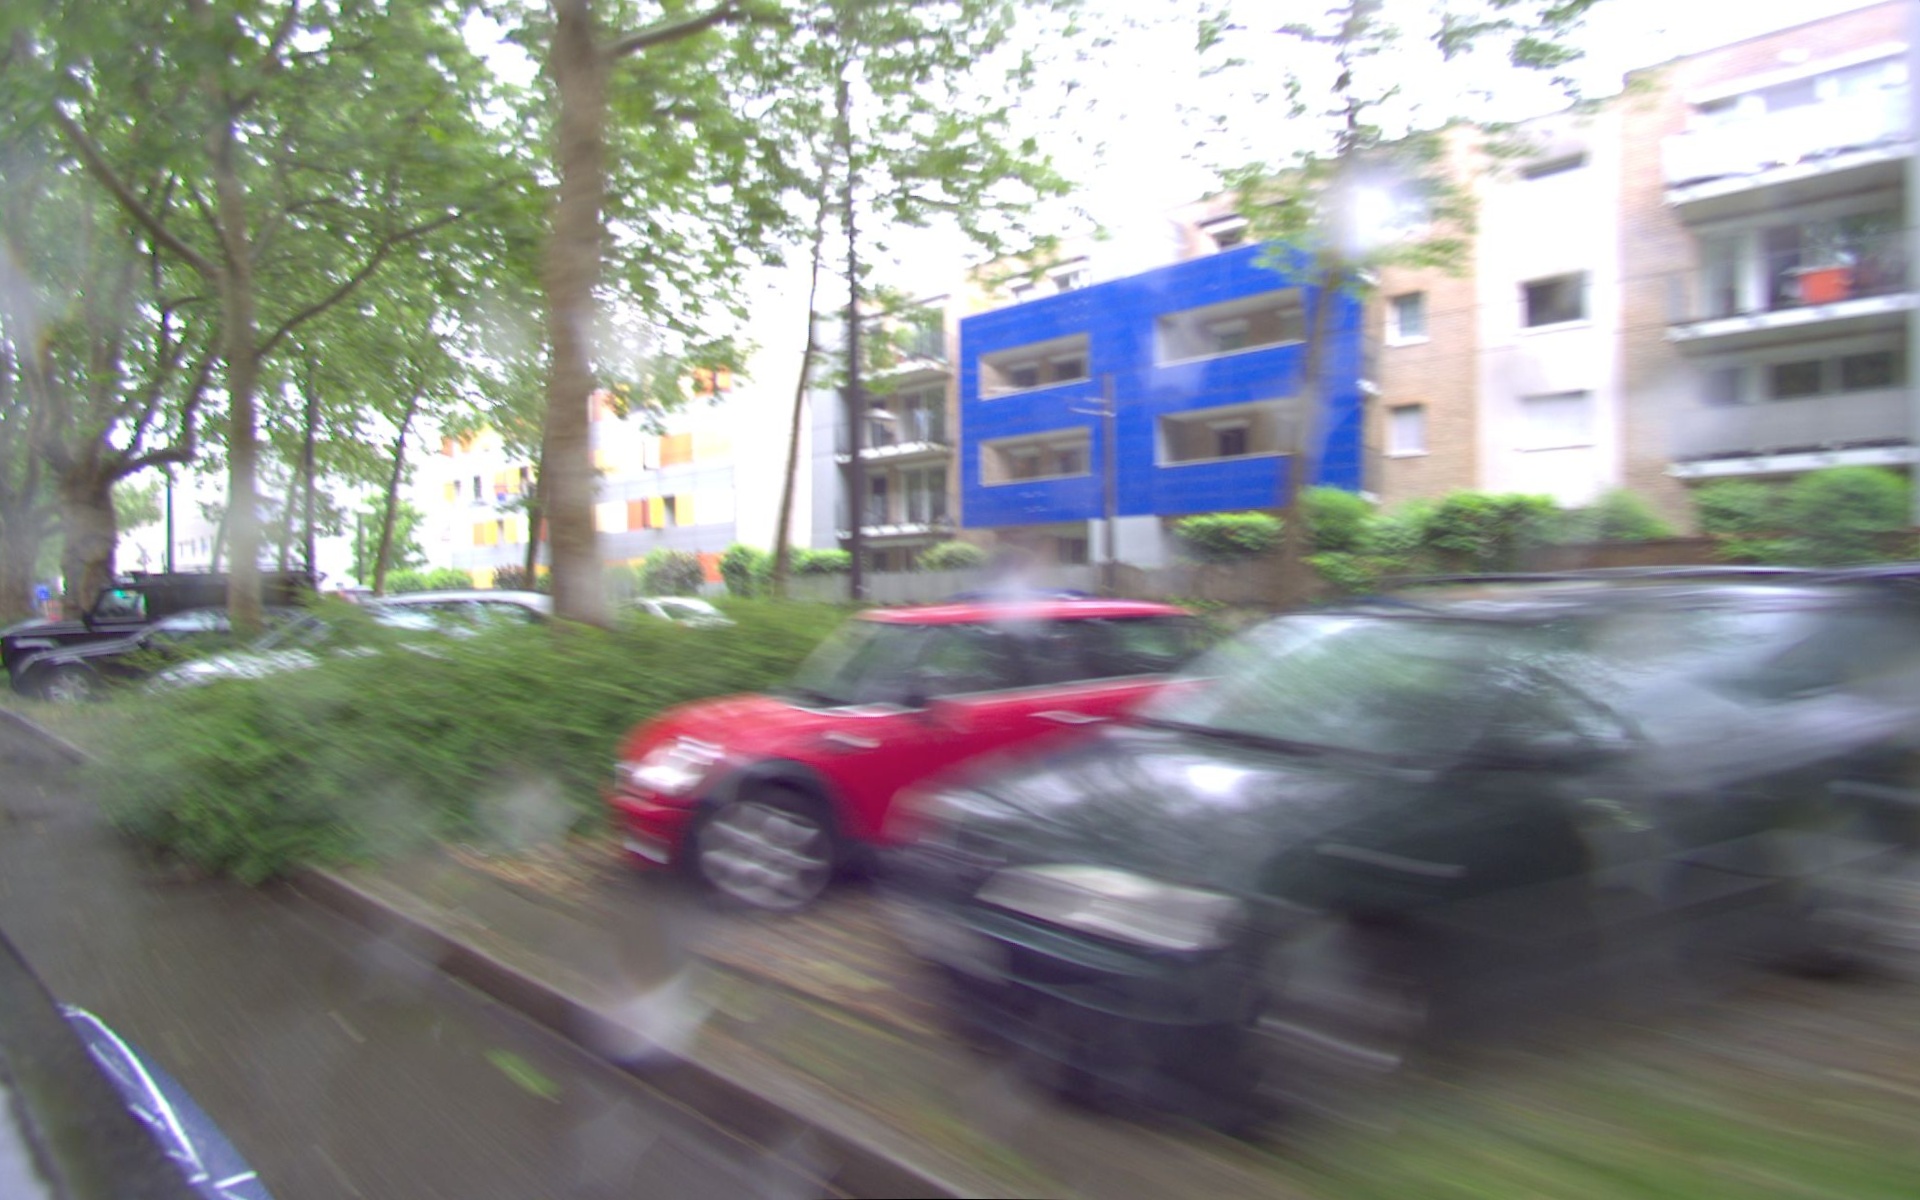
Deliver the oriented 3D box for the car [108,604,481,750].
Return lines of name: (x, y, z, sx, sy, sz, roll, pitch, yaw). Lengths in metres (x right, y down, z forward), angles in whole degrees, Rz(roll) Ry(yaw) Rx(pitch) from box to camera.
car: (-7.637, 0.808, 11.939, 3.451, 1.479, 1.647, 0, -1, -31)

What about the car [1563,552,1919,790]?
car: (7.628, 0.515, 8.245, 4.417, 1.753, 1.885, -2, -1, 39)

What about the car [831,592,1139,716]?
car: (0.277, 0.713, 14.744, 4.211, 1.545, 1.885, -2, -1, 39)

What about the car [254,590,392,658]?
car: (-20.975, 0.790, 33.232, 5.425, 2.012, 2.035, -2, 1, 37)

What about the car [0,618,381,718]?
car: (-11.713, 0.975, 15.639, 4.579, 1.336, 1.853, 0, -1, -22)

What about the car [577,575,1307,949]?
car: (-0.165, 0.674, 5.625, 3.591, 1.491, 1.749, -2, -1, -19)

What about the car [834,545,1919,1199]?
car: (1.823, 0.616, 3.588, 4.157, 1.491, 1.749, -2, -1, -22)

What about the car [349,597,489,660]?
car: (-14.726, 0.763, 27.449, 4.211, 1.545, 1.885, -2, -1, 39)

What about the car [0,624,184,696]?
car: (-19.201, 1.268, 21.912, 3.442, 1.447, 1.787, 0, -1, -22)

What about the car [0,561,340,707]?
car: (-13.671, 0.550, 17.628, 4.579, 2.300, 2.018, 0, -1, -20)

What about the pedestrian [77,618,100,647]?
pedestrian: (-55.856, 2.060, 64.863, 1.205, 1.813, 0.926, -1, -1, 40)

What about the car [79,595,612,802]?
car: (-5.542, 0.798, 9.705, 3.995, 1.549, 1.841, -2, -1, -24)

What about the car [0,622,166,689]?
car: (-21.123, 1.254, 23.447, 3.976, 1.446, 1.787, 0, -1, -24)
